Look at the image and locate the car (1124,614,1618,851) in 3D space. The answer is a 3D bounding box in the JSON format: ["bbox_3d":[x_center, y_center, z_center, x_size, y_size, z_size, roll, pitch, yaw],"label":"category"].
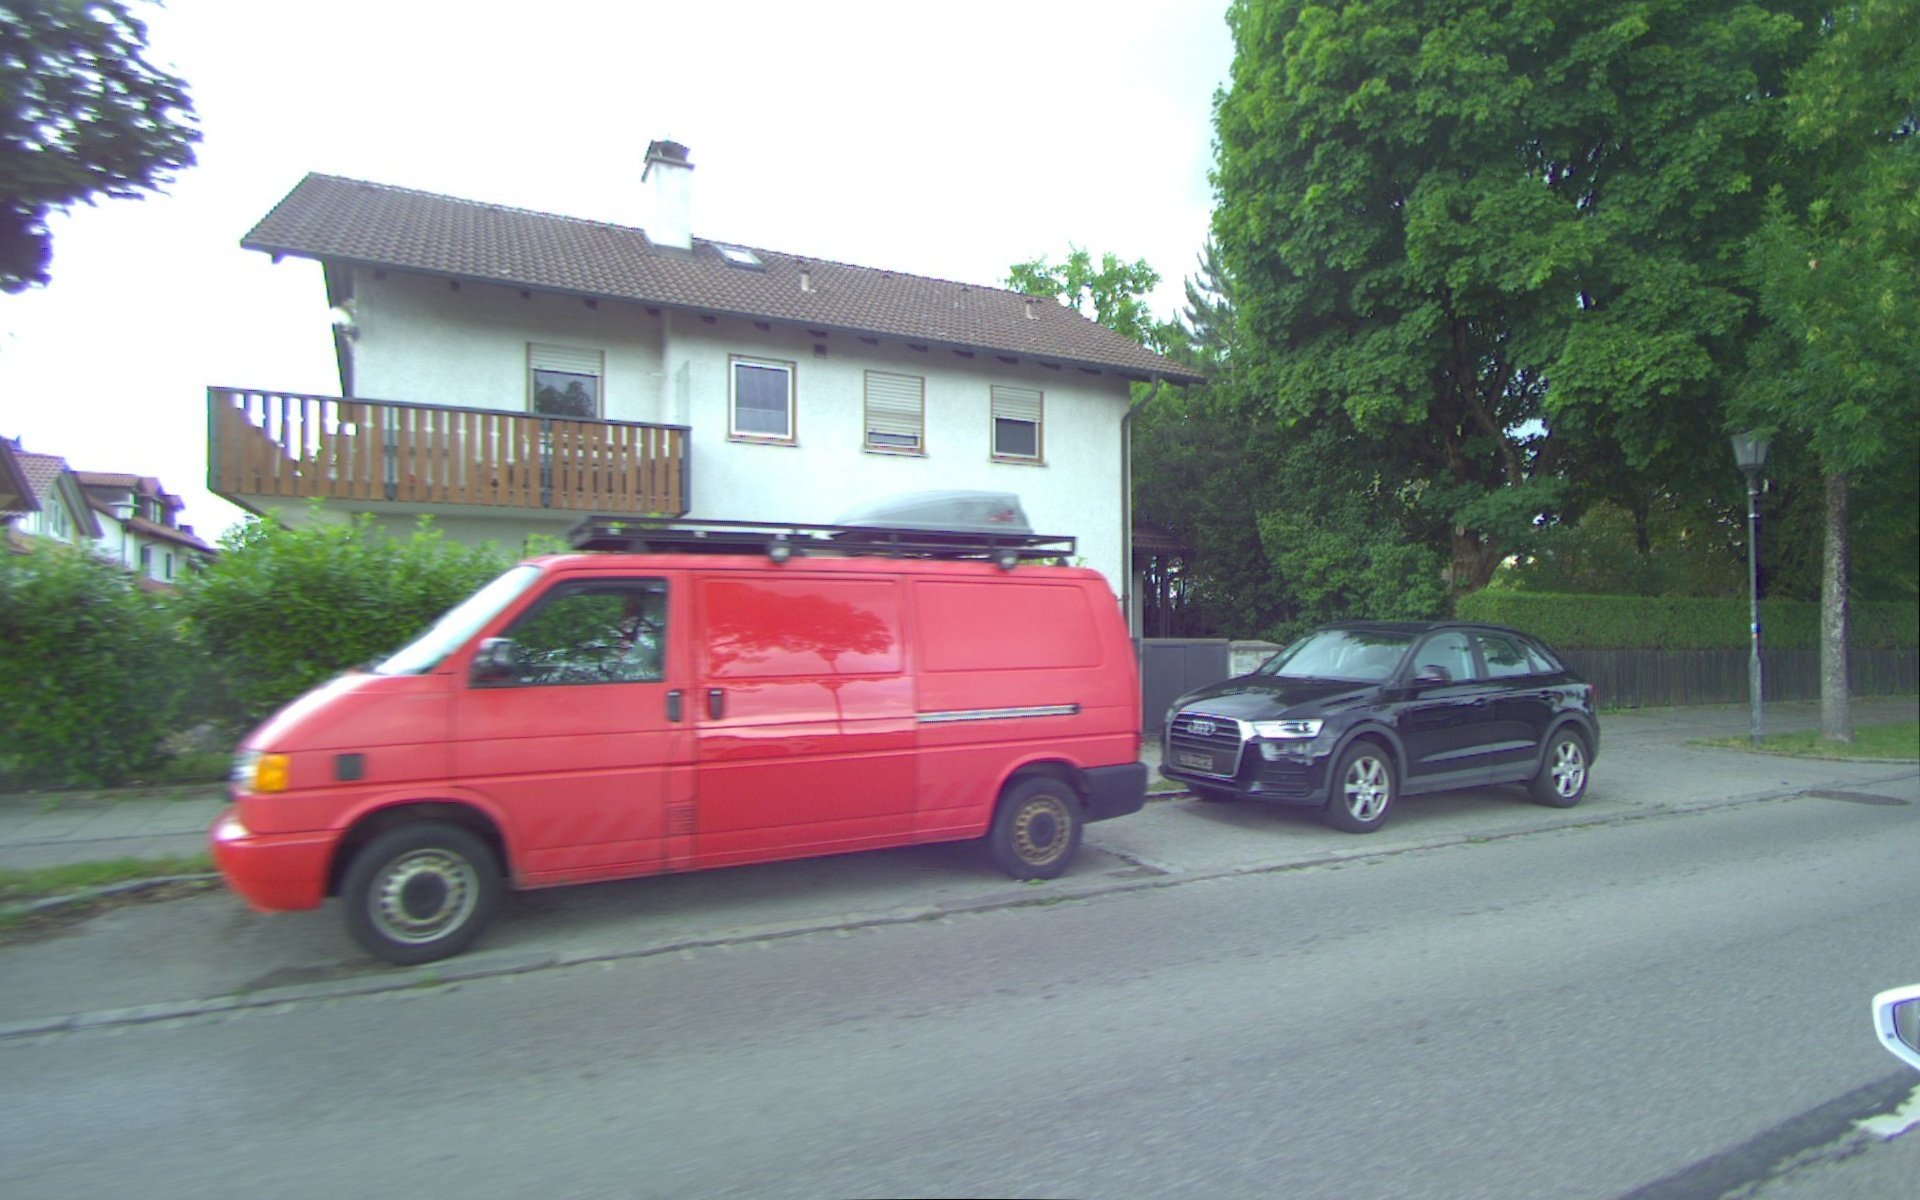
[{"bbox_3d":[3.631,0.945,8.729,4.186,1.619,1.764,1,0,-29],"label":"car"}]

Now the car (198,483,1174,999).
[{"bbox_3d":[-1.254,0.611,6.005,4.982,2.057,1.823,1,-1,-28],"label":"car"}]
